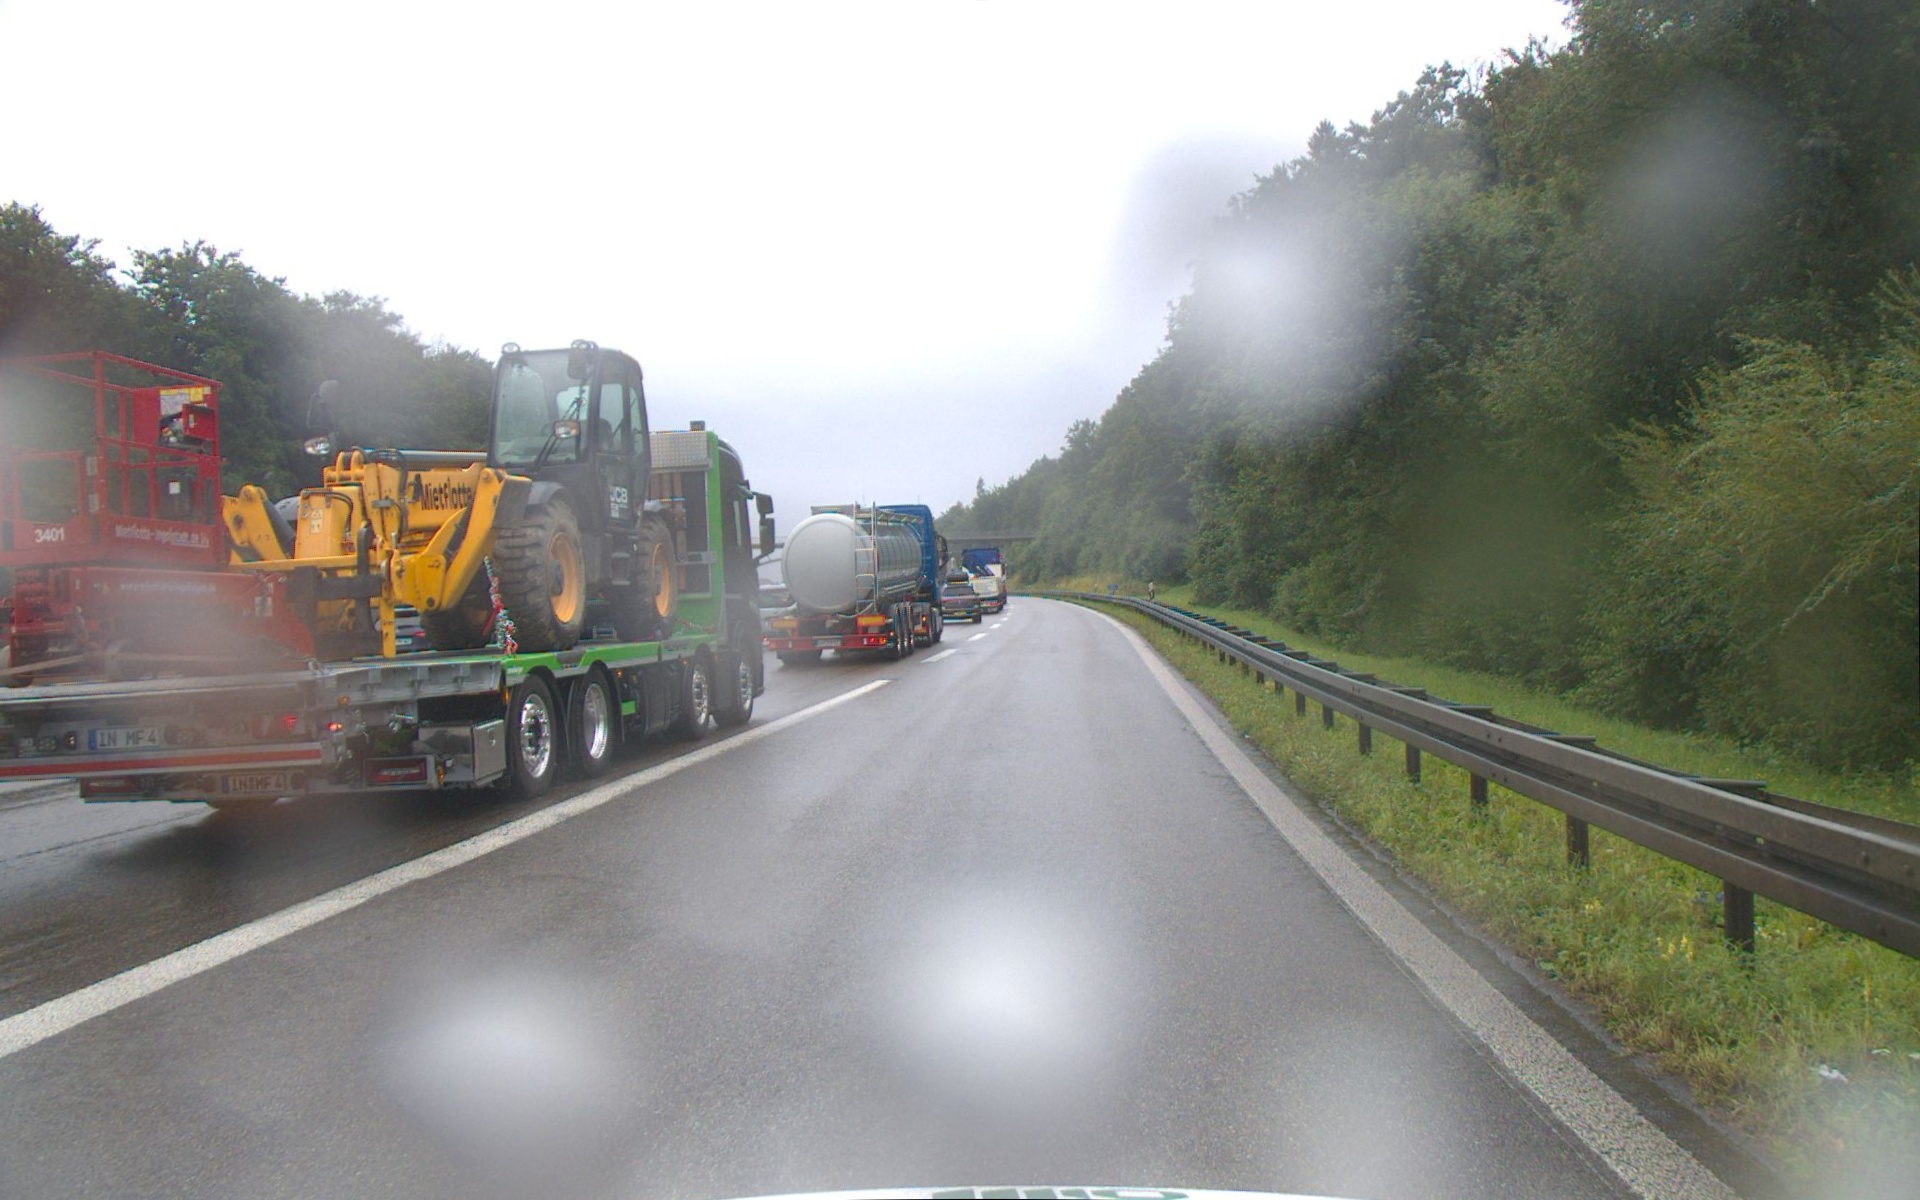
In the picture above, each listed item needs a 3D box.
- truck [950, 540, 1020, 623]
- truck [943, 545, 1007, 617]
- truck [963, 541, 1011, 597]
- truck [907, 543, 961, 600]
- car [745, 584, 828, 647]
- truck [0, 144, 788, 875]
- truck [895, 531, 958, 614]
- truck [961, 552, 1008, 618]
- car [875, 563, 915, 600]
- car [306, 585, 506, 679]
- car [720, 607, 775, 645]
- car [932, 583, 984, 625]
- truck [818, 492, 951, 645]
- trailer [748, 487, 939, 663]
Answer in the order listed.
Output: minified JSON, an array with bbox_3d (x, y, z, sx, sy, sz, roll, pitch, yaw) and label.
[{"bbox_3d":[1.492,-1.027,92.949,3.526,4.176,11.562,-3,0,2],"label":"truck"},{"bbox_3d":[1.073,-1.146,109.034,3.433,4.343,10.608,1,-1,4],"label":"truck"},{"bbox_3d":[2.188,-2.438,134.934,3.677,4.040,11.059,1,-1,1],"label":"truck"},{"bbox_3d":[-2.046,-2.234,135.674,3.502,4.167,10.883,-2,-1,3],"label":"truck"},{"bbox_3d":[-5.178,0.443,49.862,1.781,1.798,4.002,-2,0,4],"label":"car"},{"bbox_3d":[-4.116,-0.447,14.409,2.771,3.651,11.805,-3,0,5],"label":"truck"},{"bbox_3d":[-2.334,-1.894,120.762,3.676,5.595,10.176,1,-1,3],"label":"truck"},{"bbox_3d":[2.345,-1.290,156.427,4.246,5.865,9.731,1,-1,1],"label":"truck"},{"bbox_3d":[-3.541,-1.011,90.374,1.759,1.870,4.001,1,-1,3],"label":"car"},{"bbox_3d":[-10.839,0.559,32.772,1.951,1.621,4.811,-3,0,5],"label":"car"},{"bbox_3d":[-10.681,1.269,83.364,1.952,1.803,4.136,-2,0,3],"label":"car"},{"bbox_3d":[-0.046,0.195,68.762,1.952,1.665,4.001,1,-1,3],"label":"car"},{"bbox_3d":[-1.927,-0.817,44.272,2.816,3.758,5.059,-2,0,4],"label":"truck"},{"bbox_3d":[-2.367,-0.548,37.628,2.813,3.346,10.083,-2,0,4],"label":"trailer"}]
